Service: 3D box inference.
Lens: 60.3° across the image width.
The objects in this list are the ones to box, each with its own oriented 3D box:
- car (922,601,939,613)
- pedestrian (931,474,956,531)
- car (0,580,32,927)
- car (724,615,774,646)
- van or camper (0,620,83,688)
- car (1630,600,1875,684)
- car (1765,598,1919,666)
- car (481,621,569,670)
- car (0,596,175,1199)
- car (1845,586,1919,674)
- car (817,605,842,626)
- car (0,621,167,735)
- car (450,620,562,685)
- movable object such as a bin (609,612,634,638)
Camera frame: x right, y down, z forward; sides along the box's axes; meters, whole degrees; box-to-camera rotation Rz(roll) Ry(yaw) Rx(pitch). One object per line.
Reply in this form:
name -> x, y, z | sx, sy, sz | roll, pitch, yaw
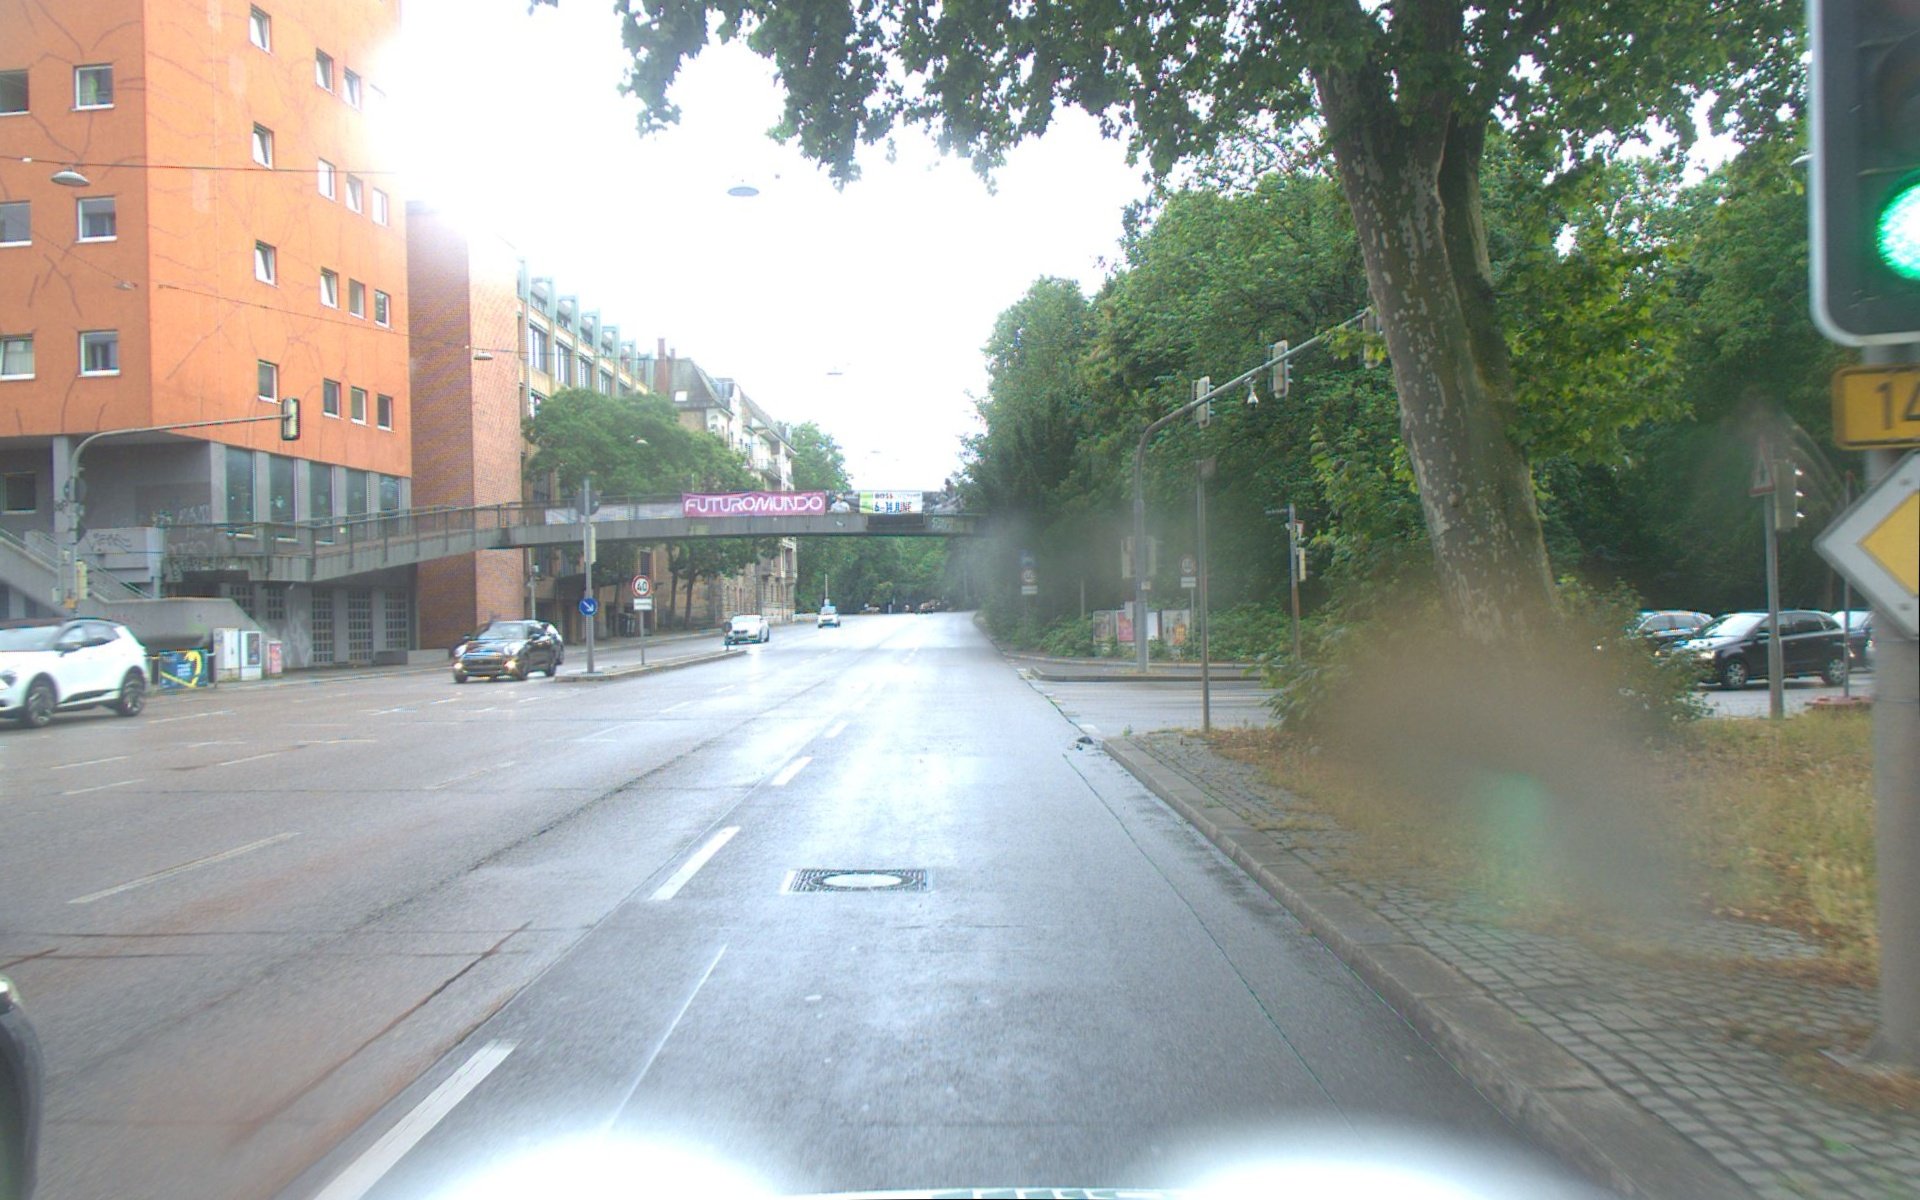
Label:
car -> -4.164, 0.996, 232.024 | 1.965, 1.672, 4.371 | -1, -1, -5
pedestrian -> -0.718, -4.214, 71.532 | 0.935, 2.386, 1.005 | 1, -1, -6
car -> -5.560, 0.701, 6.009 | 1.772, 1.685, 4.445 | 1, -1, 1
car -> -10.281, 1.476, 80.845 | 1.793, 1.418, 4.404 | -2, -1, 0
van or camper -> -24.915, 1.381, 42.337 | 3.903, 1.656, 1.915 | -1, 0, 5
car -> 15.078, 0.794, 31.511 | 4.120, 1.486, 1.784 | 2, -1, -17
car -> 20.442, 0.733, 36.972 | 4.362, 1.427, 1.821 | 2, -1, -17
car -> -14.151, 1.459, 54.030 | 1.673, 1.490, 4.042 | -1, -1, 2
car -> -2.654, 0.741, 1.492 | 1.740, 1.483, 4.477 | -1, -1, 0
car -> 20.386, 0.637, 33.593 | 4.130, 1.709, 1.898 | 2, -1, -17
car -> -9.883, 1.189, 125.585 | 1.568, 1.525, 3.711 | -2, -1, 0
car -> -14.610, 1.171, 26.218 | 1.851, 1.638, 4.456 | -1, -1, 1
car -> -11.066, 1.256, 40.576 | 1.648, 1.461, 3.862 | -1, -1, 0
movable object such as a bin -> -20.742, 1.540, 101.389 | 1.256, 1.545, 1.273 | -1, 0, 0
